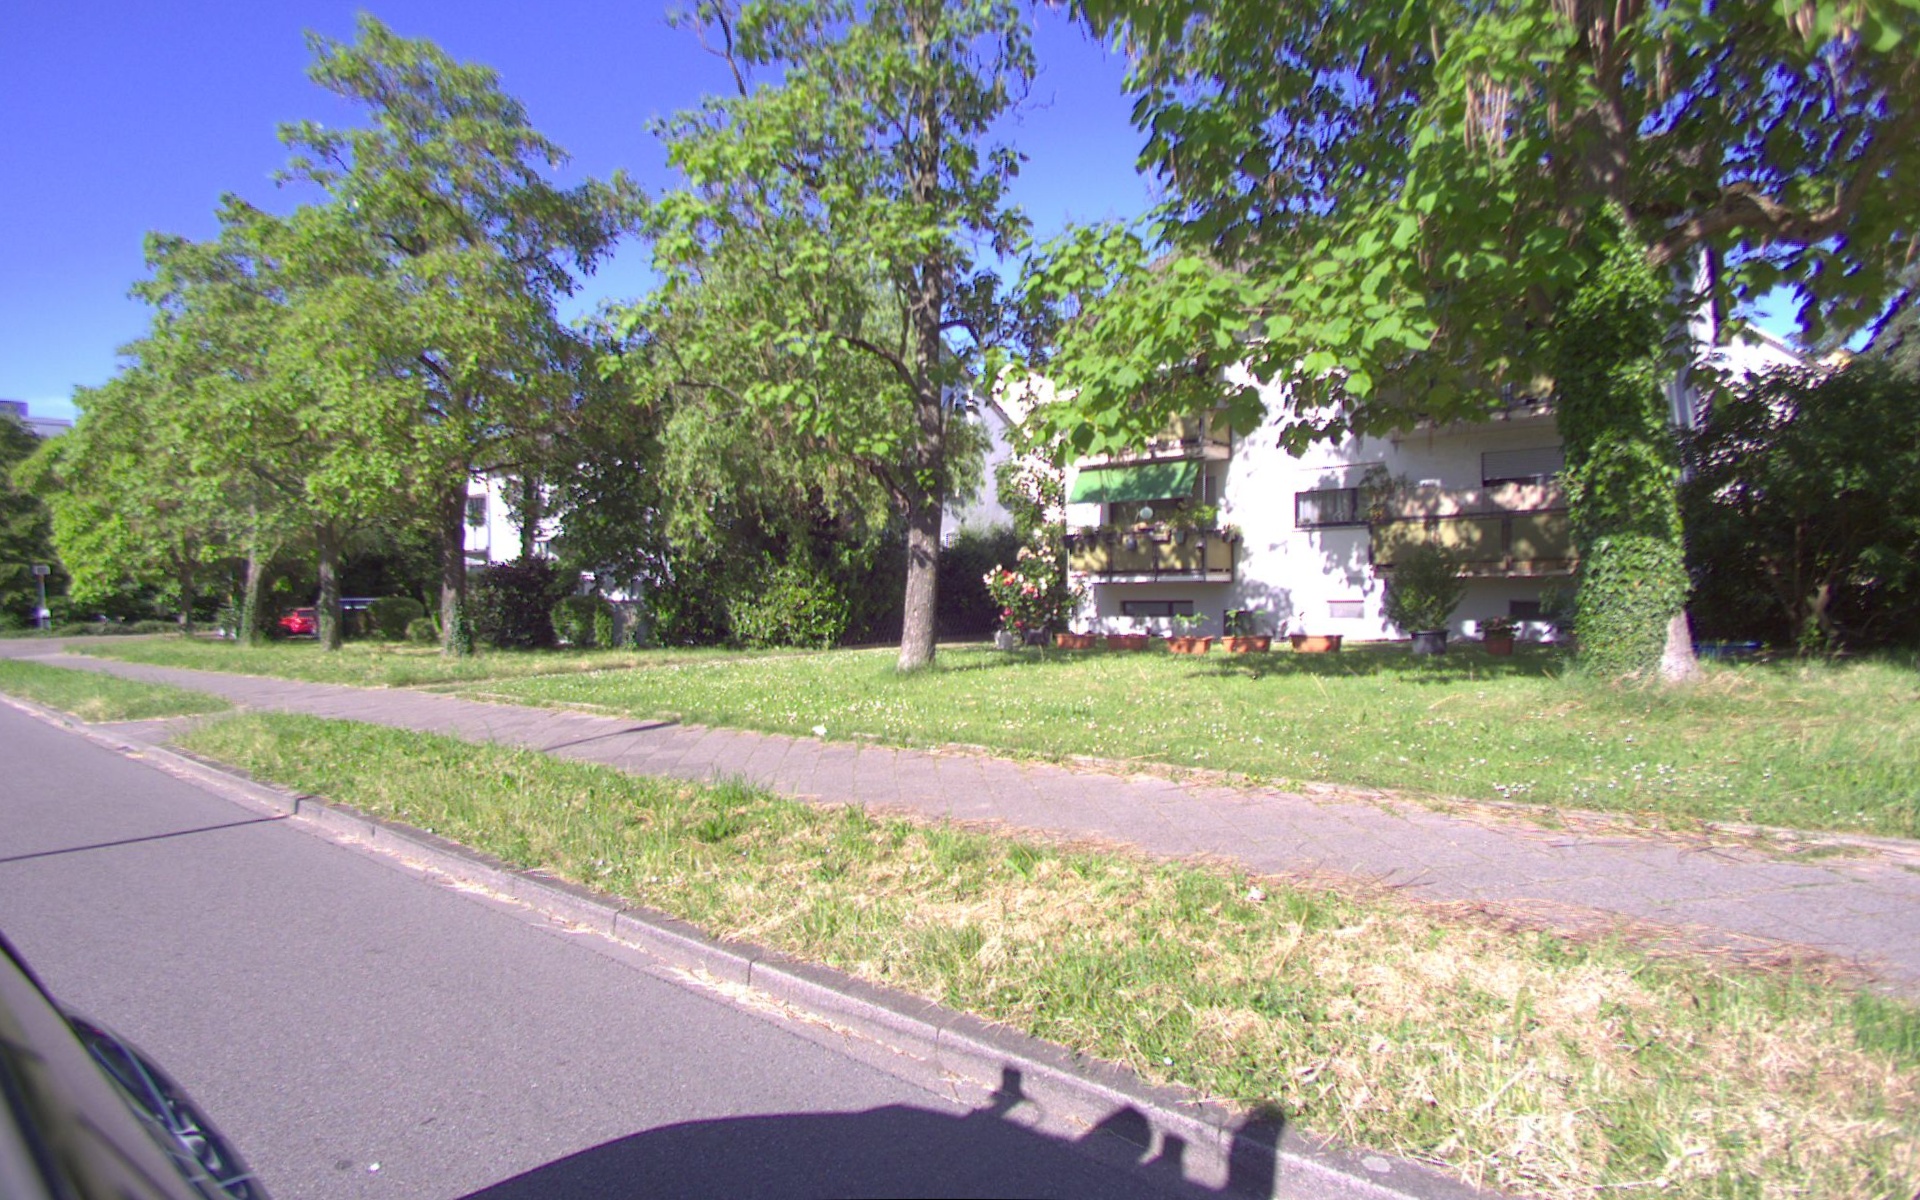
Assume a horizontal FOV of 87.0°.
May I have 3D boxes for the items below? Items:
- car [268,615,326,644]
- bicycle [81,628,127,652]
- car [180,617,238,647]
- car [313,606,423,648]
[{"bbox_3d":[-37.325,1.633,56.935,3.882,1.498,1.653,1,1,40],"label":"car"},{"bbox_3d":[-45.990,2.150,54.406,1.875,1.161,0.762,-1,3,-39],"label":"bicycle"},{"bbox_3d":[-40.886,1.714,55.076,3.882,1.498,1.653,1,1,40],"label":"car"},{"bbox_3d":[-30.163,1.341,51.651,2.069,1.984,4.402,-3,-1,43],"label":"car"}]
